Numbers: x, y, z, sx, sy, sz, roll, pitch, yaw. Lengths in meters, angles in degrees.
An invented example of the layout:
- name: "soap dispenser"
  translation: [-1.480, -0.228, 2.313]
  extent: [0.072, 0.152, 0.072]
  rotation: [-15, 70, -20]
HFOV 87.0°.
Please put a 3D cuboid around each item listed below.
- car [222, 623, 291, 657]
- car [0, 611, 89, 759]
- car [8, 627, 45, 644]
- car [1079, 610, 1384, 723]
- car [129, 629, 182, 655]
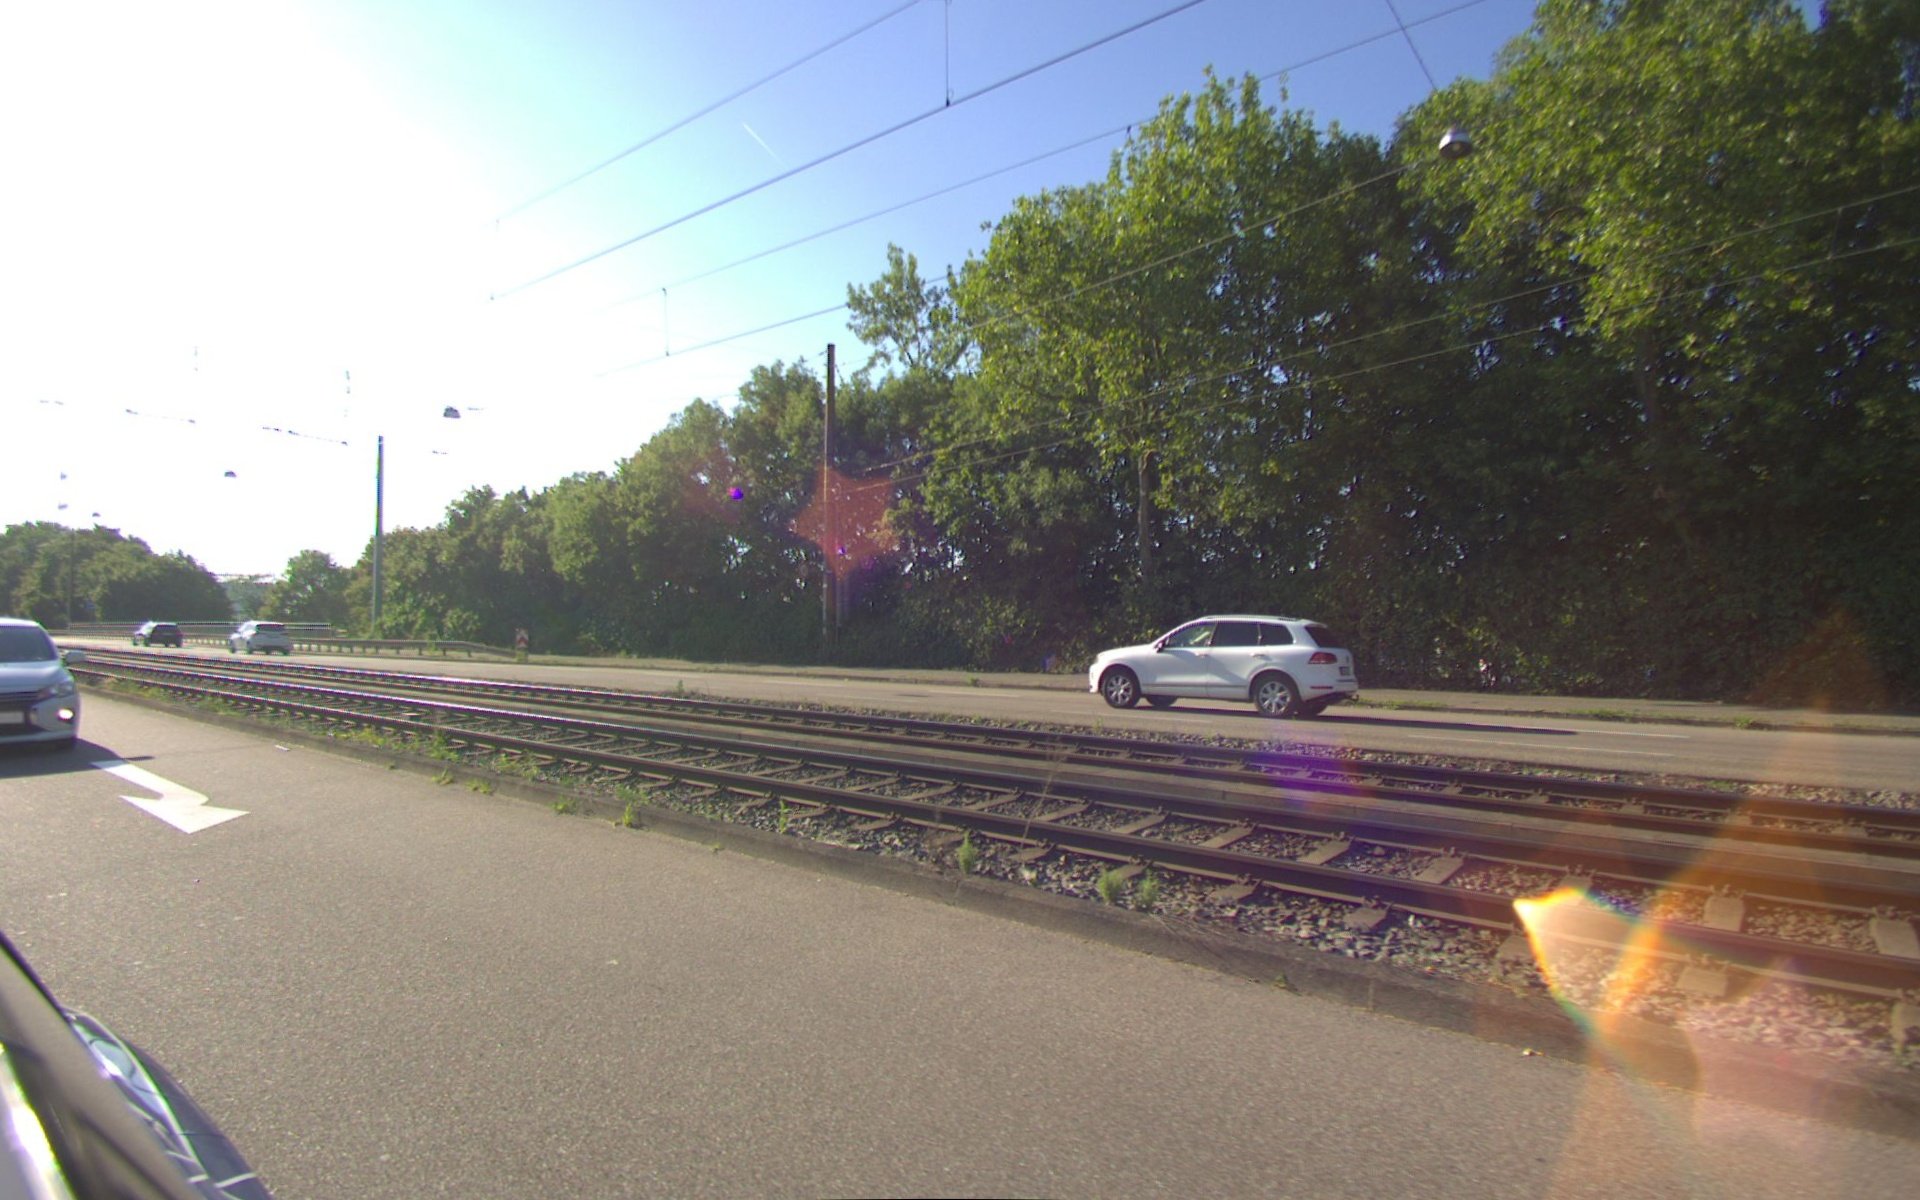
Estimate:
- name: "car"
  translation: [-34.946, 1.981, 50.240]
  extent: [4.187, 1.568, 1.674]
  rotation: [-1, -4, 40]
- name: "car"
  translation: [-11.462, 0.903, 11.617]
  extent: [3.860, 1.523, 1.687]
  rotation: [-1, -1, 41]
- name: "car"
  translation: [-86.003, 3.236, 93.193]
  extent: [4.872, 1.425, 1.737]
  rotation: [-1, -4, 39]
- name: "car"
  translation: [4.711, 1.102, 18.002]
  extent: [4.925, 1.747, 1.828]
  rotation: [-1, -4, 38]
- name: "car"
  translation: [-48.762, 2.543, 61.322]
  extent: [4.499, 1.443, 1.640]
  rotation: [-1, -4, 41]
